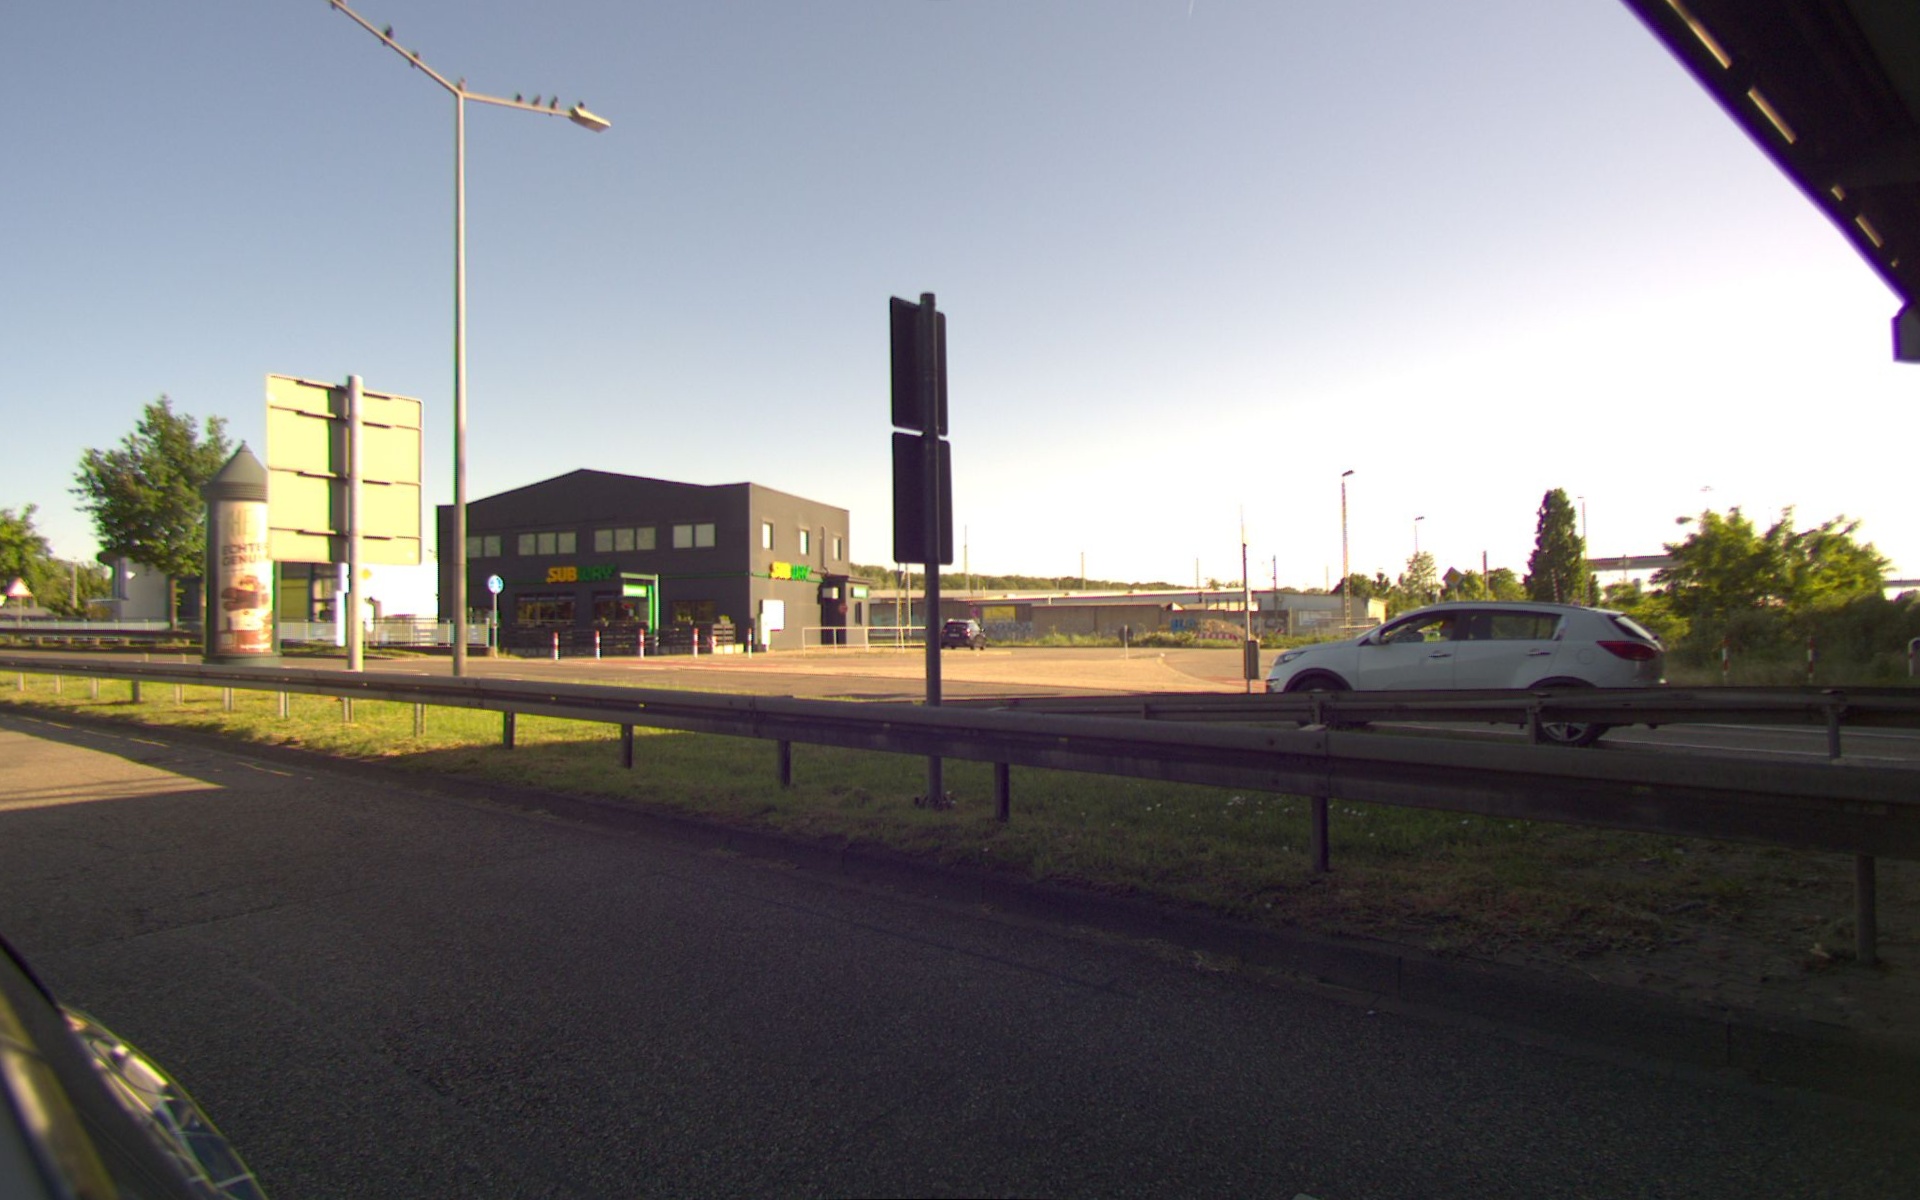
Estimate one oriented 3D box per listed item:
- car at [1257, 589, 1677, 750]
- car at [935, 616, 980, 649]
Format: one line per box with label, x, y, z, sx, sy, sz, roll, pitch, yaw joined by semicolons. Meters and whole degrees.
car;6.009;0.740;12.243;4.288;1.619;1.783;-1;-1;37
car;-0.079;1.606;50.789;1.860;1.453;3.993;-1;0;5
